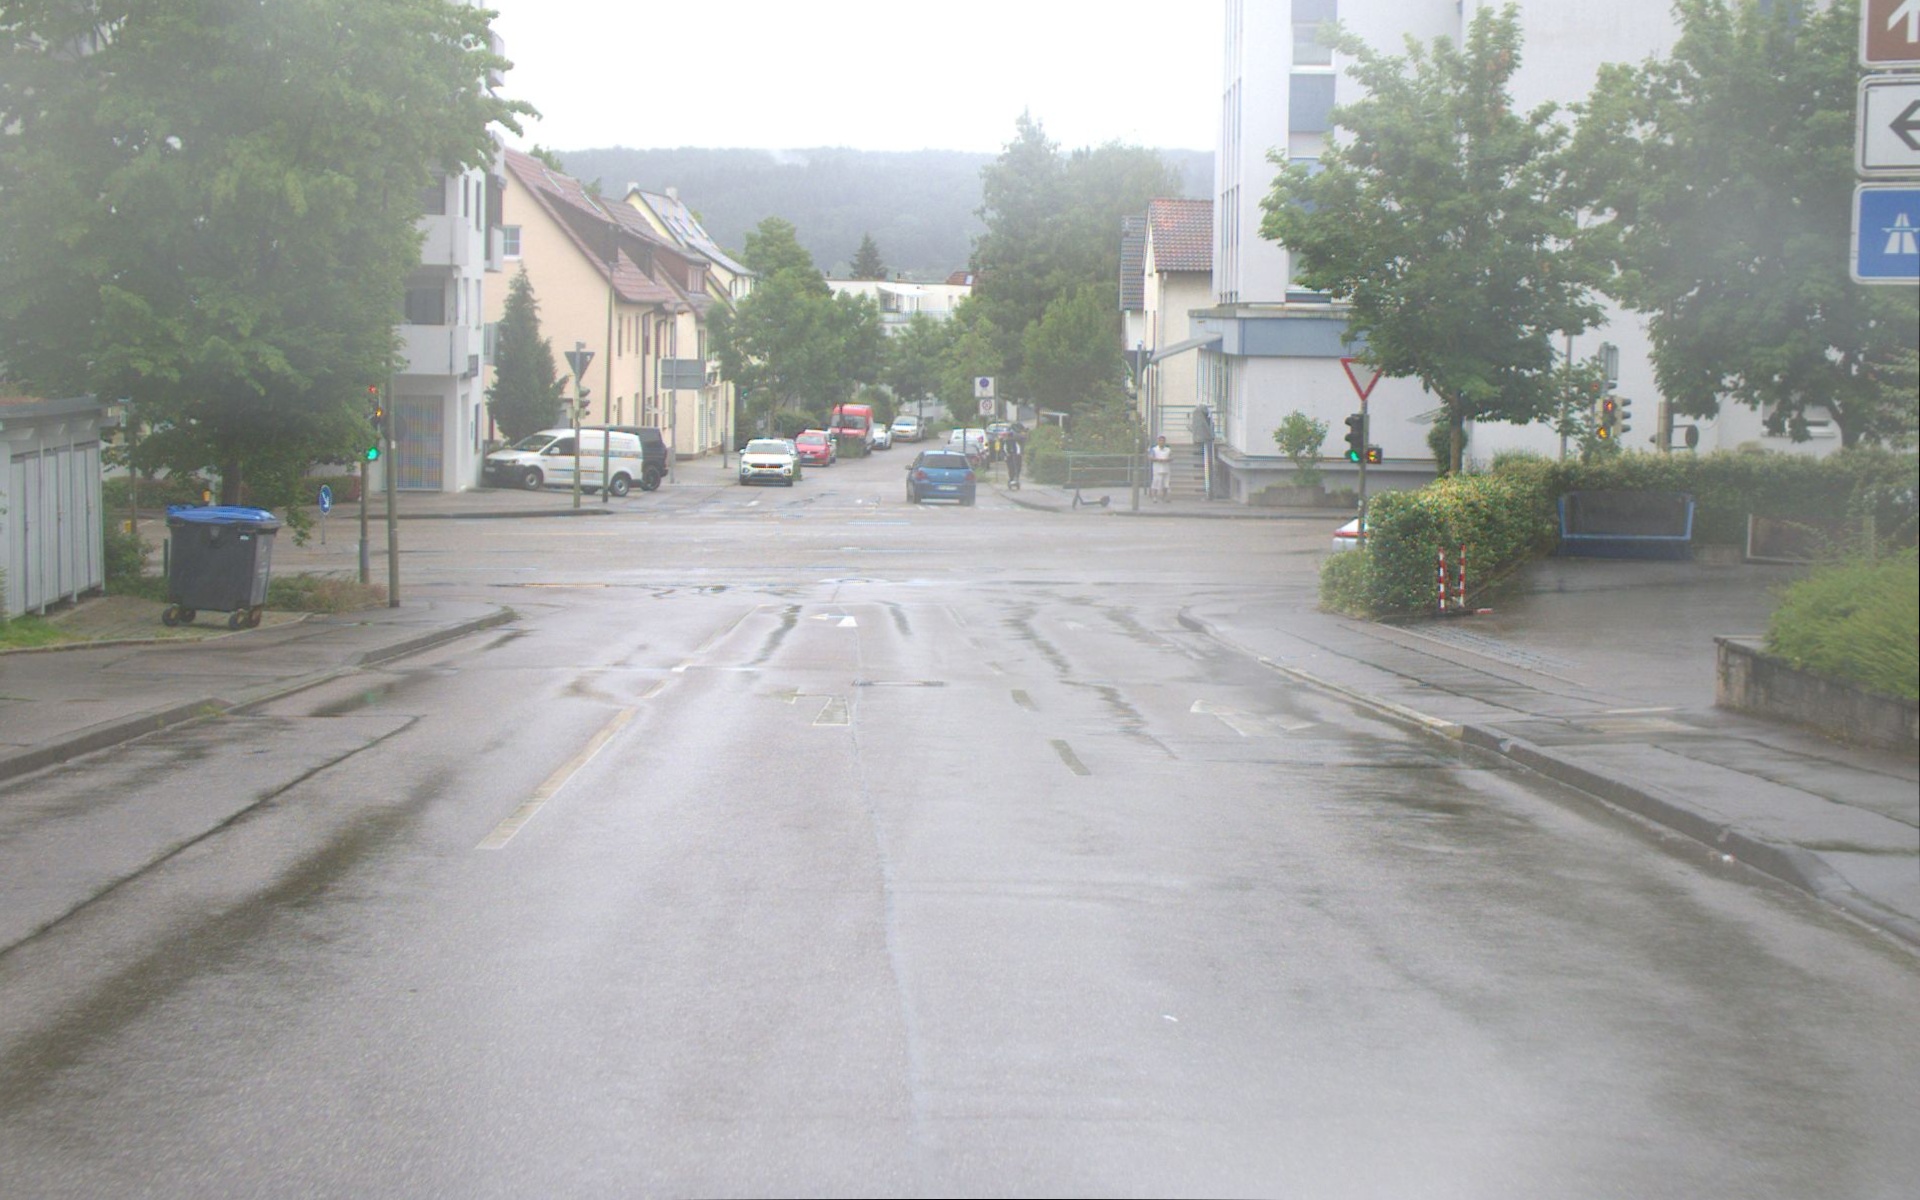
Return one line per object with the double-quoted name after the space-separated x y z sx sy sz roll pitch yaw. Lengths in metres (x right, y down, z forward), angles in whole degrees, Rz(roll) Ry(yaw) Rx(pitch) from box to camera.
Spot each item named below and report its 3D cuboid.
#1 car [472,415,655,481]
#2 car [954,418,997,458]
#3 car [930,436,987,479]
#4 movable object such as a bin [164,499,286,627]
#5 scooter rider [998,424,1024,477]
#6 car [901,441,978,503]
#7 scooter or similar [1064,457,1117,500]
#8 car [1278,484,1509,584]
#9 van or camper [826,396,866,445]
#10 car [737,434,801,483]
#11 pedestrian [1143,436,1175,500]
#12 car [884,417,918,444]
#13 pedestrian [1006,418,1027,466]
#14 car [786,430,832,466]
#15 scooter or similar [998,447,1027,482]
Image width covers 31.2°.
-11.250 -4.332 97.710 4.830 1.829 2.000 -3 4 -39 "car"
0.687 -7.261 153.731 1.901 1.739 4.192 0 3 0 "car"
-0.066 -5.463 131.760 2.146 1.583 4.129 0 3 0 "car"
-8.079 -0.417 37.848 1.071 1.343 1.319 2 2 -3 "movable object such as a bin"
1.735 -5.104 117.139 0.752 1.789 0.673 -1 3 -9 "scooter rider"
-0.589 -3.611 96.511 1.993 1.678 4.001 -1 3 -3 "car"
3.384 -3.151 88.937 1.268 1.077 0.877 -1 3 -5 "scooter or similar"
7.913 -1.228 62.604 3.989 1.678 1.999 -3 4 -40 "car"
-5.851 -9.240 177.150 1.901 2.504 4.239 0 3 0 "van or camper"
-6.544 -4.865 118.167 1.993 1.620 4.192 0 3 0 "car"
5.219 -3.463 90.196 0.647 1.641 0.526 3 2 -7 "pedestrian"
-3.502 -10.090 204.779 1.901 1.553 4.192 0 3 0 "car"
2.212 -6.176 134.297 0.745 1.842 0.526 1 2 -3 "pedestrian"
-6.772 -6.842 154.588 1.901 1.553 4.192 0 3 0 "car"
1.774 -4.614 117.152 0.757 1.167 1.315 -1 3 -10 "scooter or similar"
